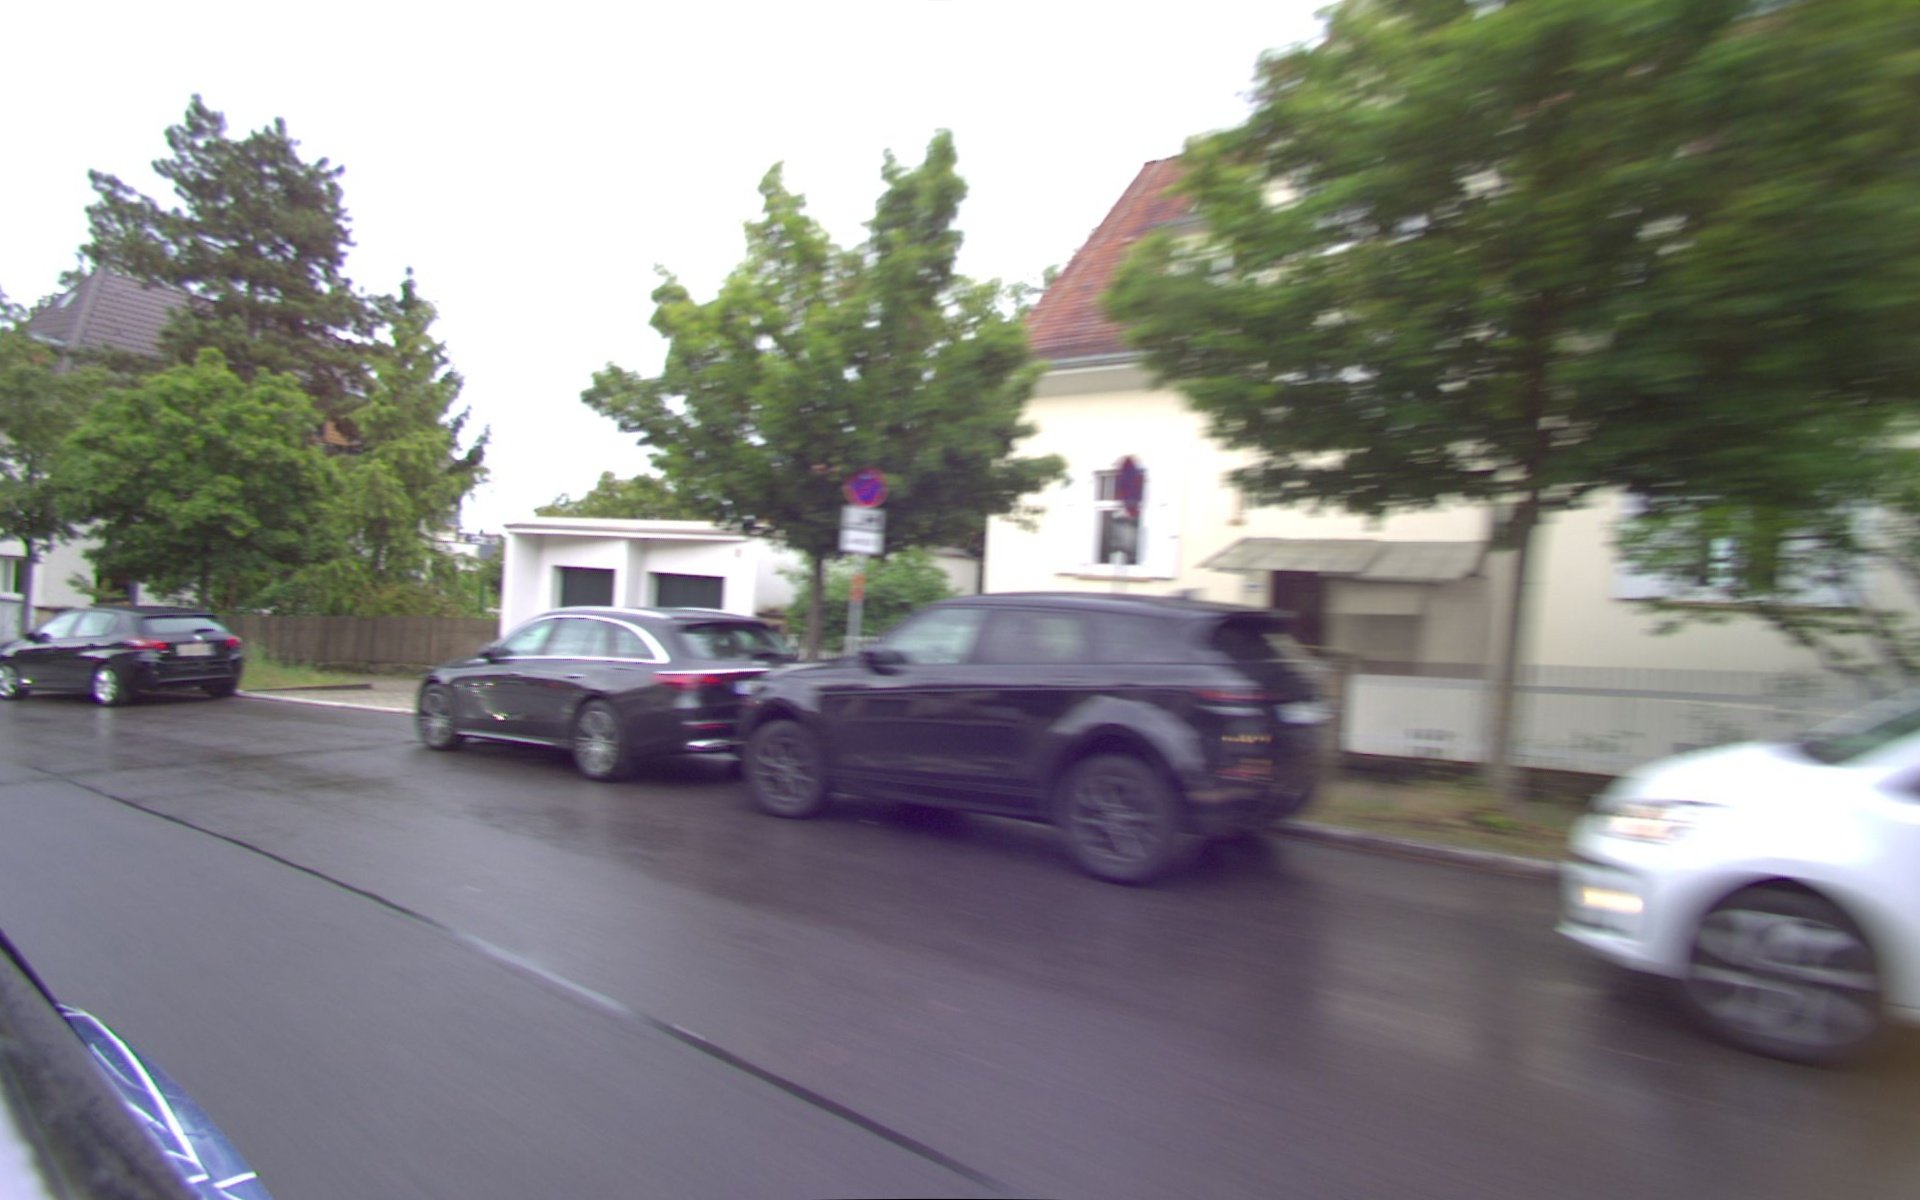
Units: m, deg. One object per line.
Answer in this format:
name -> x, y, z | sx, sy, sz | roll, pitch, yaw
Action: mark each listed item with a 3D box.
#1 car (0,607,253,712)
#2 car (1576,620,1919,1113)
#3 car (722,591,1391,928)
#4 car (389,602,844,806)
car -> -13.190, 0.864, 15.769 | 3.865, 1.477, 1.664 | 0, -1, 20
car -> 4.294, 0.802, 3.008 | 3.997, 1.478, 1.716 | -1, -1, 40
car -> 0.410, 0.749, 6.708 | 4.207, 1.557, 1.716 | 0, -1, 40
car -> -3.547, 0.804, 9.966 | 4.897, 1.557, 1.849 | 0, -1, 37
